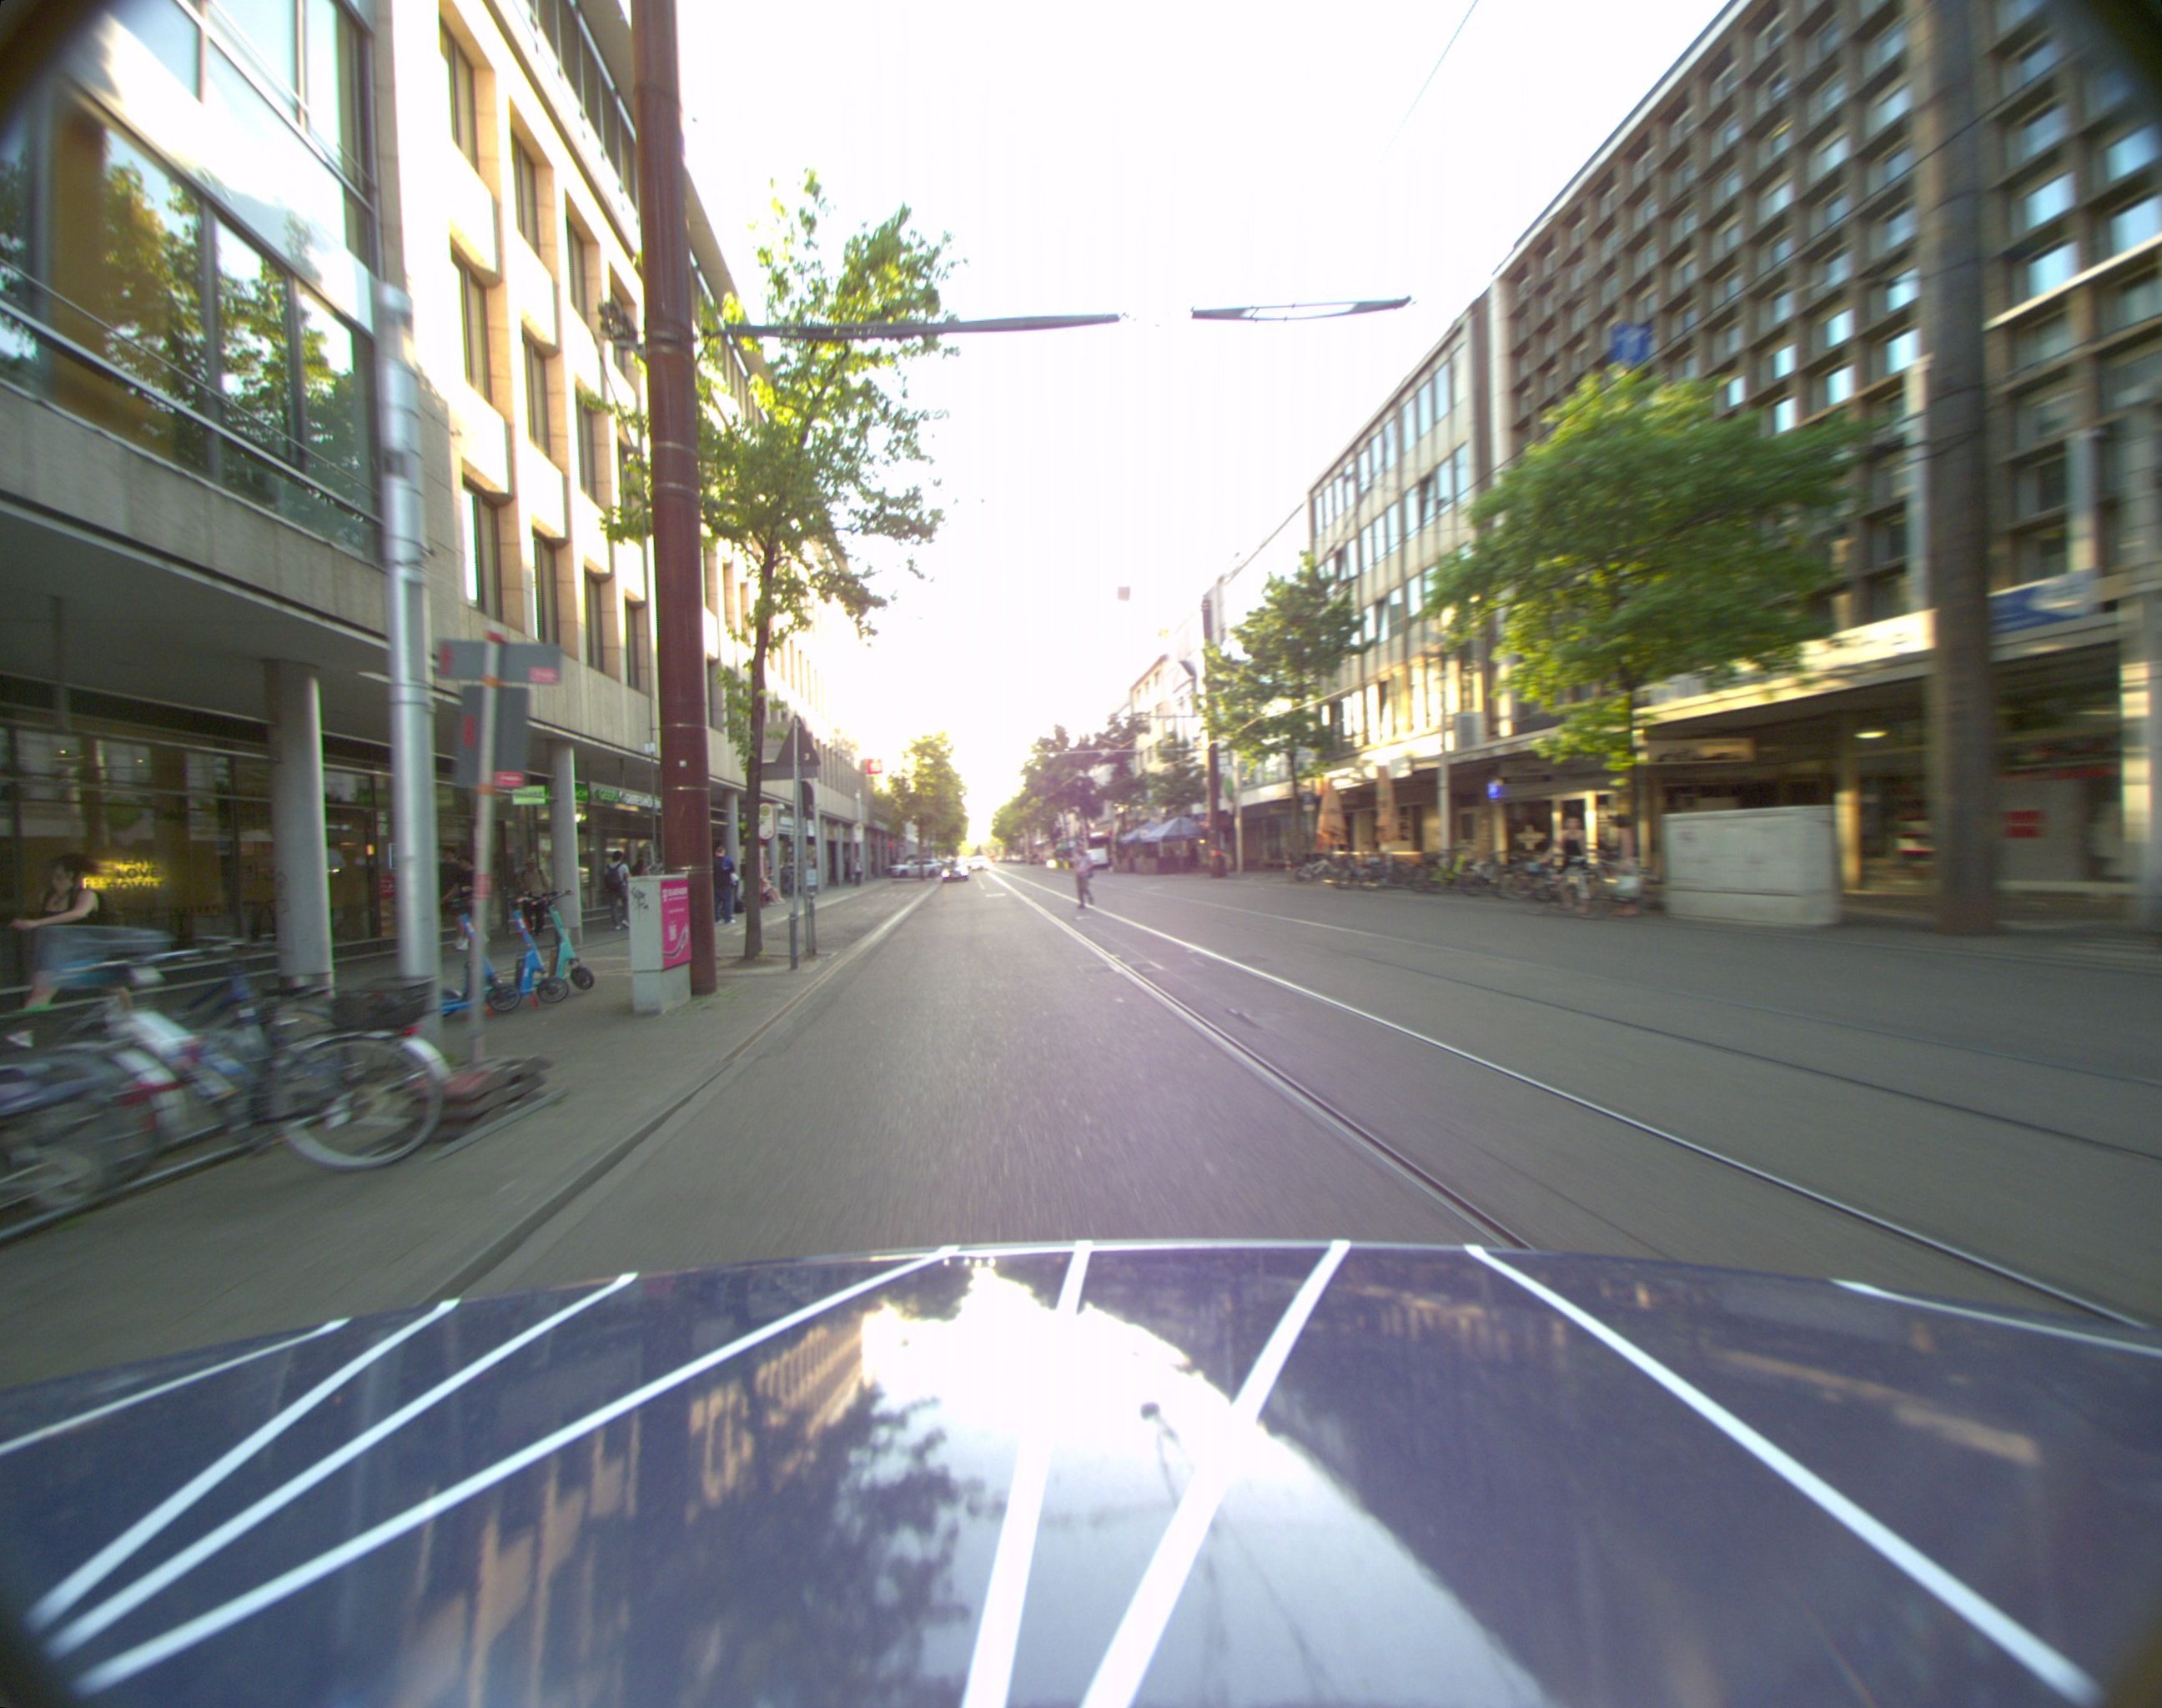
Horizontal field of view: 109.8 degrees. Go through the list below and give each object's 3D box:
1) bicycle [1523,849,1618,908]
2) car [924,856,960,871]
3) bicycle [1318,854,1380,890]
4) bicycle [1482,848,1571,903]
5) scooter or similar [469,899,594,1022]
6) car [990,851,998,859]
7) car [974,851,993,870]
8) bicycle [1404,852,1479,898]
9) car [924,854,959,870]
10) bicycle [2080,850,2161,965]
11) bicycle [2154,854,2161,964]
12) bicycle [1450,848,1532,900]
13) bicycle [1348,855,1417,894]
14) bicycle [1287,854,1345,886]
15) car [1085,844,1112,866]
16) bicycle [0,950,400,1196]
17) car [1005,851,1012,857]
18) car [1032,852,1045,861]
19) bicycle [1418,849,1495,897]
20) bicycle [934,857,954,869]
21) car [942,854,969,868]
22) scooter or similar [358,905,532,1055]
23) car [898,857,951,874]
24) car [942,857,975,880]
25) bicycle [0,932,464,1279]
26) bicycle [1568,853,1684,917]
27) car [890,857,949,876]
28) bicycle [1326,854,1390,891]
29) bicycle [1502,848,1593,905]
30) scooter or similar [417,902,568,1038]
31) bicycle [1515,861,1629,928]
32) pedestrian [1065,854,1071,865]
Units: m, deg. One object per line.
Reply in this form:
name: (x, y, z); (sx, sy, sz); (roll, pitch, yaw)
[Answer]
bicycle: (9.996, 0.488, 15.509); (1.778, 1.065, 0.489); (-4, 1, -13)
car: (-17.851, 1.243, 97.561); (4.006, 1.502, 1.860); (-5, 1, -37)
bicycle: (8.253, 0.557, 23.392); (1.778, 0.984, 0.489); (-4, 0, -13)
bicycle: (9.788, 0.463, 16.689); (1.778, 1.065, 0.489); (-4, 1, -13)
scooter or similar: (-6.246, 1.170, 8.661); (1.118, 1.244, 0.495); (-1, 0, -38)
car: (-22.104, 0.153, 193.537); (2.000, 2.002, 3.997); (-2, 0, -7)
car: (-11.128, 0.735, 86.893); (2.000, 2.002, 3.997); (-2, 0, -7)
bicycle: (9.346, 0.532, 19.693); (1.778, 1.065, 0.489); (-4, 1, -13)
car: (-18.767, 1.092, 102.188); (4.005, 1.776, 1.861); (-5, 1, -32)
bicycle: (11.027, 0.484, 7.555); (1.777, 1.039, 0.489); (-4, 1, -8)
bicycle: (11.088, 0.461, 7.068); (1.777, 1.039, 0.489); (-4, 1, -8)
bicycle: (9.656, 0.464, 17.901); (1.778, 1.065, 0.489); (-4, 1, -13)
bicycle: (8.517, 0.570, 21.471); (1.778, 0.984, 0.489); (-4, 0, -13)
bicycle: (8.006, 0.529, 25.895); (1.775, 0.960, 0.489); (-4, 2, 9)
car: (1.563, 0.106, 69.147); (1.831, 1.811, 4.327); (-5, 1, -6)
bicycle: (-5.300, 1.187, 4.335); (2.003, 1.148, 0.725); (0, 0, -13)
car: (-19.258, 0.037, 201.244); (1.800, 1.501, 3.997); (-2, 0, -7)
car: (-7.310, 0.411, 130.167); (1.800, 1.501, 3.997); (-2, 0, -7)
bicycle: (9.440, 0.472, 19.123); (1.778, 1.065, 0.489); (-4, 1, -13)
bicycle: (-14.083, 0.922, 78.204); (1.863, 1.067, 0.733); (-3, -1, 6)
car: (-19.055, 0.981, 115.249); (1.861, 1.776, 4.006); (-4, 1, 27)
scooter or similar: (-6.052, 1.151, 7.286); (0.392, 1.244, 1.193); (-1, 0, 31)
car: (-14.991, 1.063, 72.918); (4.647, 1.578, 1.913); (0, 0, -42)
car: (-8.427, 0.965, 52.717); (1.799, 1.400, 4.563); (-3, 1, -4)
bicycle: (-4.187, 1.078, 3.530); (1.922, 1.325, 0.725); (0, 0, -13)
bicycle: (9.525, 0.521, 13.372); (0.489, 1.039, 1.776); (-3, 0, -11)
car: (-13.936, 1.065, 65.666); (4.647, 1.619, 1.913); (0, -2, -40)
bicycle: (8.333, 0.560, 22.870); (1.778, 0.984, 0.489); (-4, 0, -13)
bicycle: (9.916, 0.464, 16.157); (1.778, 1.065, 0.489); (-4, 1, -13)
scooter or similar: (-6.067, 1.157, 7.878); (1.193, 1.244, 0.392); (-1, 0, -37)
bicycle: (8.226, 0.643, 12.819); (0.489, 1.039, 1.776); (-3, 0, -11)
pedestrian: (-1.598, 0.656, 93.132); (0.650, 1.378, 0.650); (-2, 1, -1)
